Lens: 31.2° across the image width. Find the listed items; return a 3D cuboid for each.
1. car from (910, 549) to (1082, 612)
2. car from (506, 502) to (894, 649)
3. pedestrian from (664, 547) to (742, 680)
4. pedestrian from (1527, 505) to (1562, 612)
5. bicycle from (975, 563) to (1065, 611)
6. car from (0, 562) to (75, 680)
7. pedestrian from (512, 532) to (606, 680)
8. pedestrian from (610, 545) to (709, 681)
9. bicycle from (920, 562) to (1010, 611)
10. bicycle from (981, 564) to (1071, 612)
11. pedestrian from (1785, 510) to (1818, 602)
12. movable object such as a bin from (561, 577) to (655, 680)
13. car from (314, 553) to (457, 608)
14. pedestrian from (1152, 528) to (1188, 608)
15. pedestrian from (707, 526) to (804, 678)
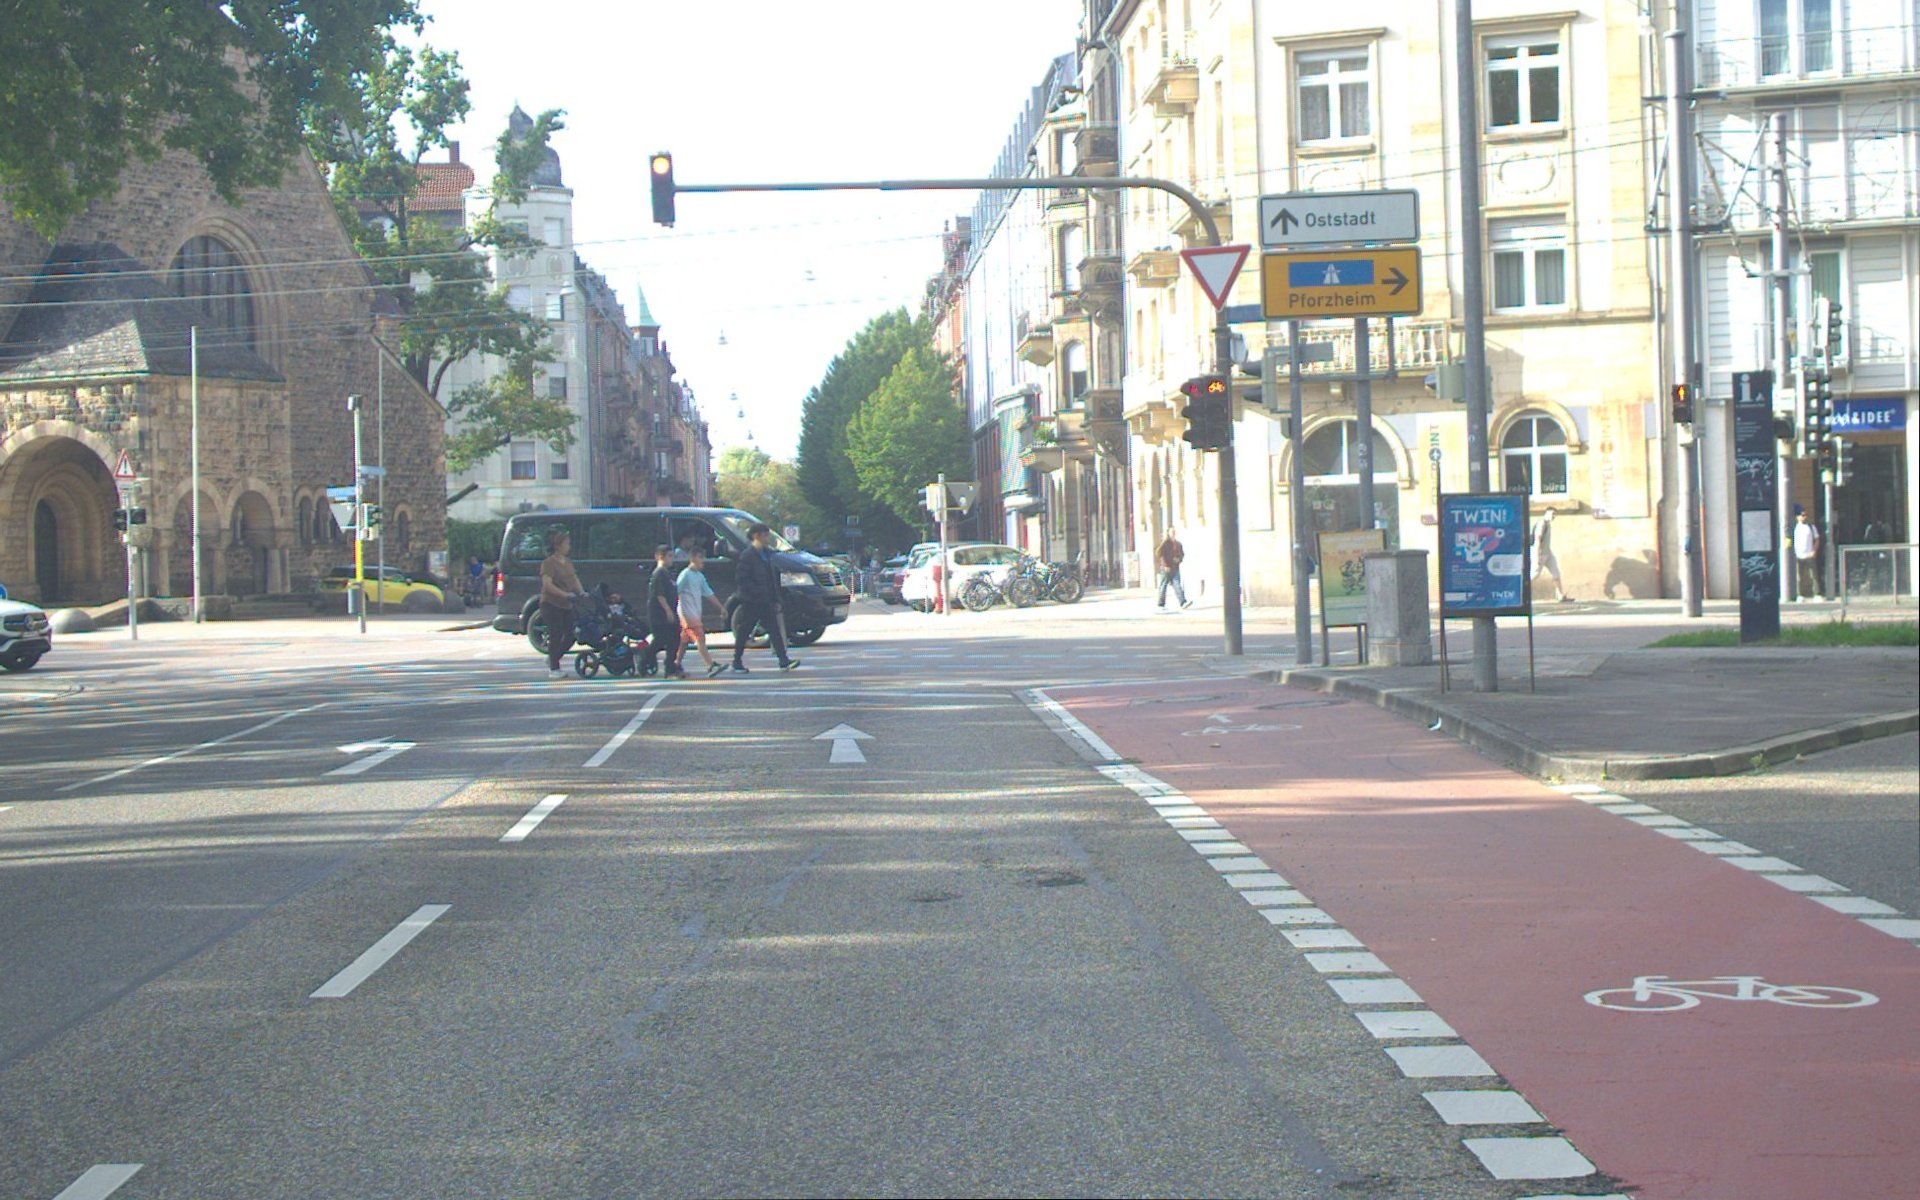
[{"bbox_3d":[0.856,-0.481,83.677,3.986,1.415,2.000,-2,1,-5],"label":"car"},{"bbox_3d":[-3.545,-0.340,47.106,4.847,1.864,2.030,-1,1,18],"label":"car"},{"bbox_3d":[-2.803,0.145,37.538,0.656,1.427,0.498,-1,1,21],"label":"pedestrian"},{"bbox_3d":[11.458,-0.810,67.367,0.526,2.086,0.496,1,1,24],"label":"pedestrian"},{"bbox_3d":[1.424,-0.321,82.014,2.022,1.078,0.631,-2,1,-11],"label":"bicycle"},{"bbox_3d":[-15.868,0.346,51.408,4.710,1.677,2.015,-1,1,18],"label":"car"},{"bbox_3d":[-4.476,0.066,38.384,0.815,1.623,0.604,-1,1,23],"label":"pedestrian"},{"bbox_3d":[-3.238,0.133,37.038,0.782,1.427,0.730,-1,1,21],"label":"pedestrian"},{"bbox_3d":[0.112,-0.325,81.238,2.022,1.078,0.620,-2,1,-11],"label":"bicycle"},{"bbox_3d":[1.559,-0.291,81.345,2.022,1.078,0.620,-2,1,-11],"label":"bicycle"},{"bbox_3d":[15.886,-0.830,64.895,0.496,1.708,0.526,1,1,22],"label":"pedestrian"},{"bbox_3d":[-3.905,0.316,38.193,0.838,1.120,0.575,-1,1,22],"label":"movable object such as a bin"},{"bbox_3d":[-17.930,-0.623,107.405,3.989,1.590,1.868,-3,1,-40],"label":"car"},{"bbox_3d":[4.341,-0.663,71.101,0.562,1.618,0.600,-1,1,19],"label":"pedestrian"},{"bbox_3d":[-2.267,0.016,38.179,0.782,1.656,0.778,-1,1,21],"label":"pedestrian"}]
